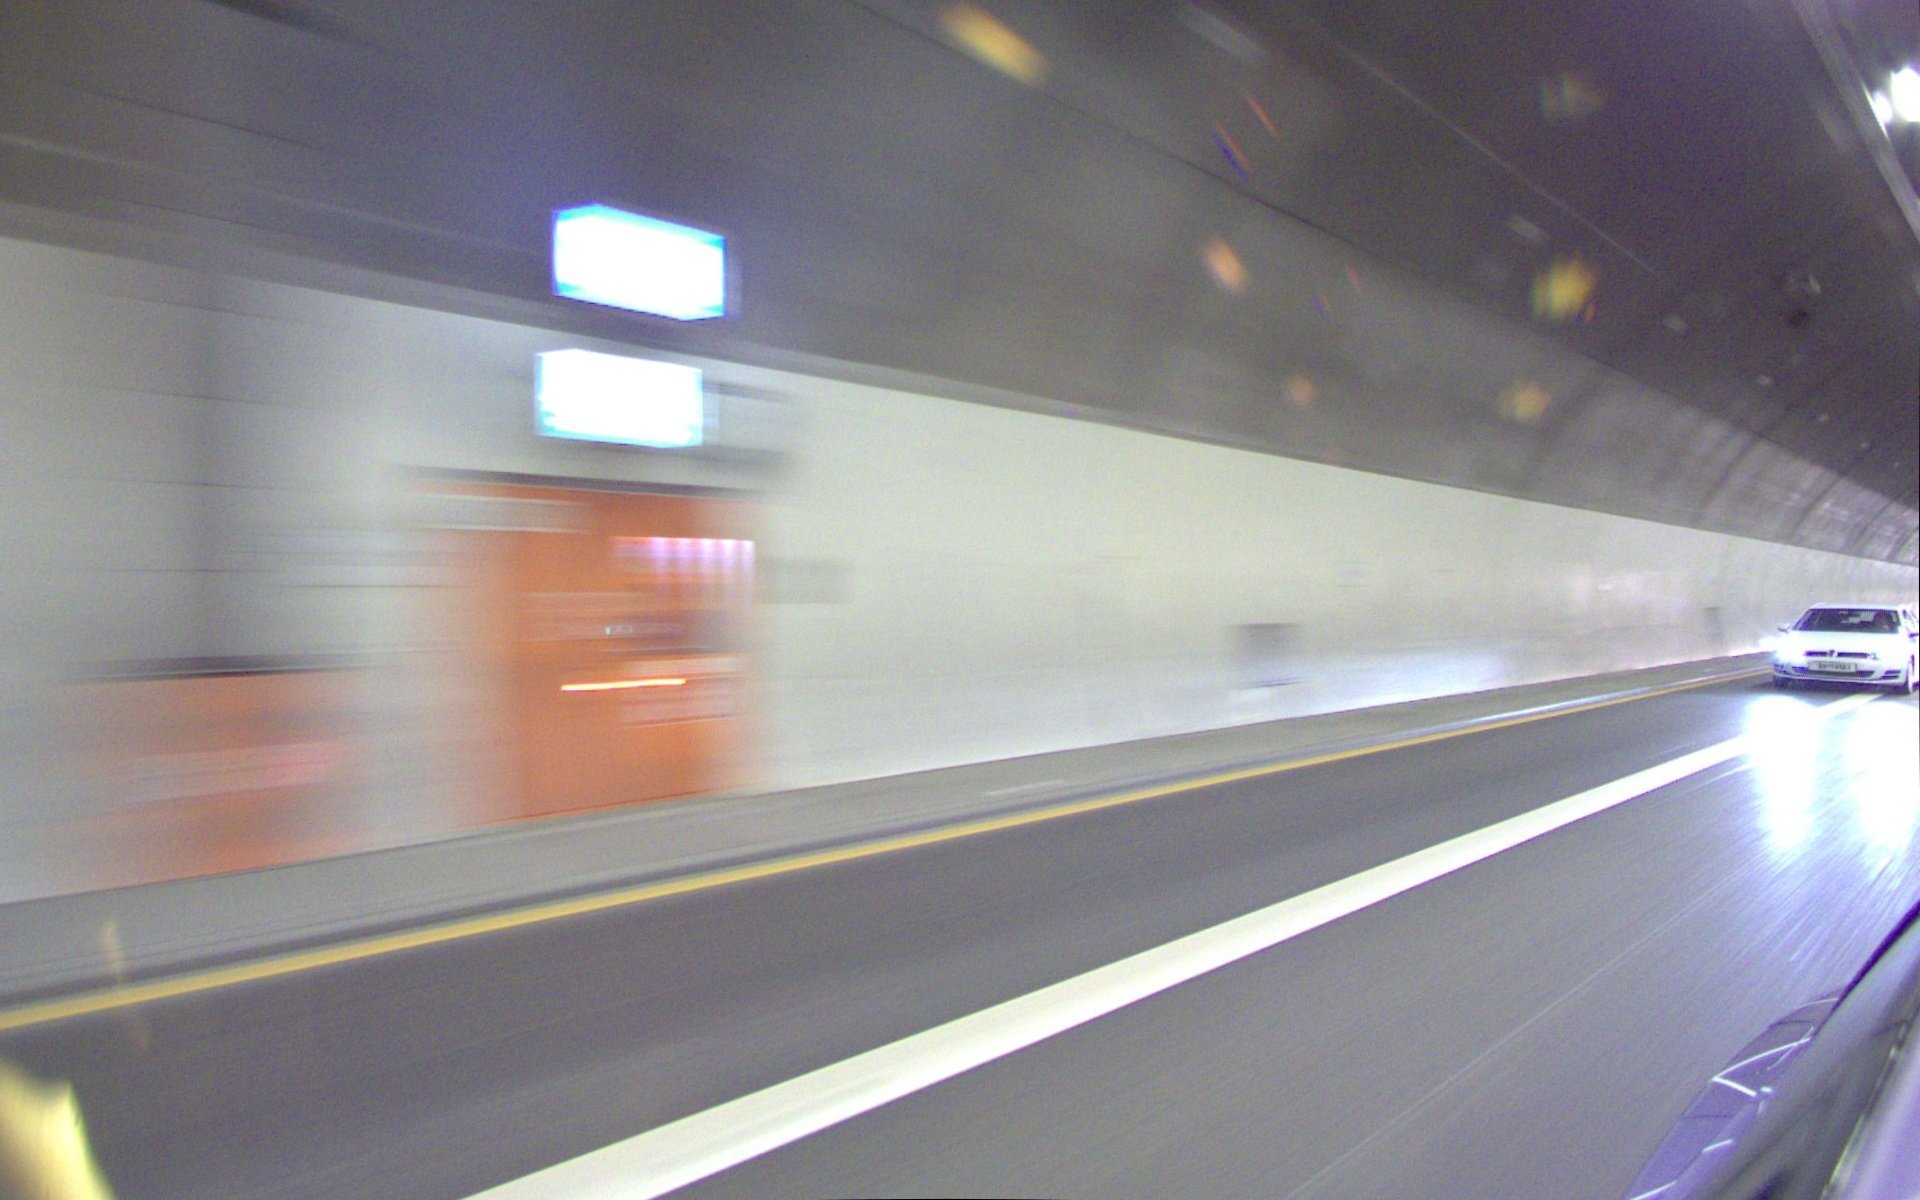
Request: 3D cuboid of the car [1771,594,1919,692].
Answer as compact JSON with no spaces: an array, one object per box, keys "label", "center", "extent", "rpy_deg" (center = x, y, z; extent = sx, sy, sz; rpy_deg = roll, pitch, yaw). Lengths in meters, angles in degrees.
[{"label":"car","center":[15.545,0.642,17.347],"extent":[3.962,1.479,1.801],"rpy_deg":[0,0,-40]}]
